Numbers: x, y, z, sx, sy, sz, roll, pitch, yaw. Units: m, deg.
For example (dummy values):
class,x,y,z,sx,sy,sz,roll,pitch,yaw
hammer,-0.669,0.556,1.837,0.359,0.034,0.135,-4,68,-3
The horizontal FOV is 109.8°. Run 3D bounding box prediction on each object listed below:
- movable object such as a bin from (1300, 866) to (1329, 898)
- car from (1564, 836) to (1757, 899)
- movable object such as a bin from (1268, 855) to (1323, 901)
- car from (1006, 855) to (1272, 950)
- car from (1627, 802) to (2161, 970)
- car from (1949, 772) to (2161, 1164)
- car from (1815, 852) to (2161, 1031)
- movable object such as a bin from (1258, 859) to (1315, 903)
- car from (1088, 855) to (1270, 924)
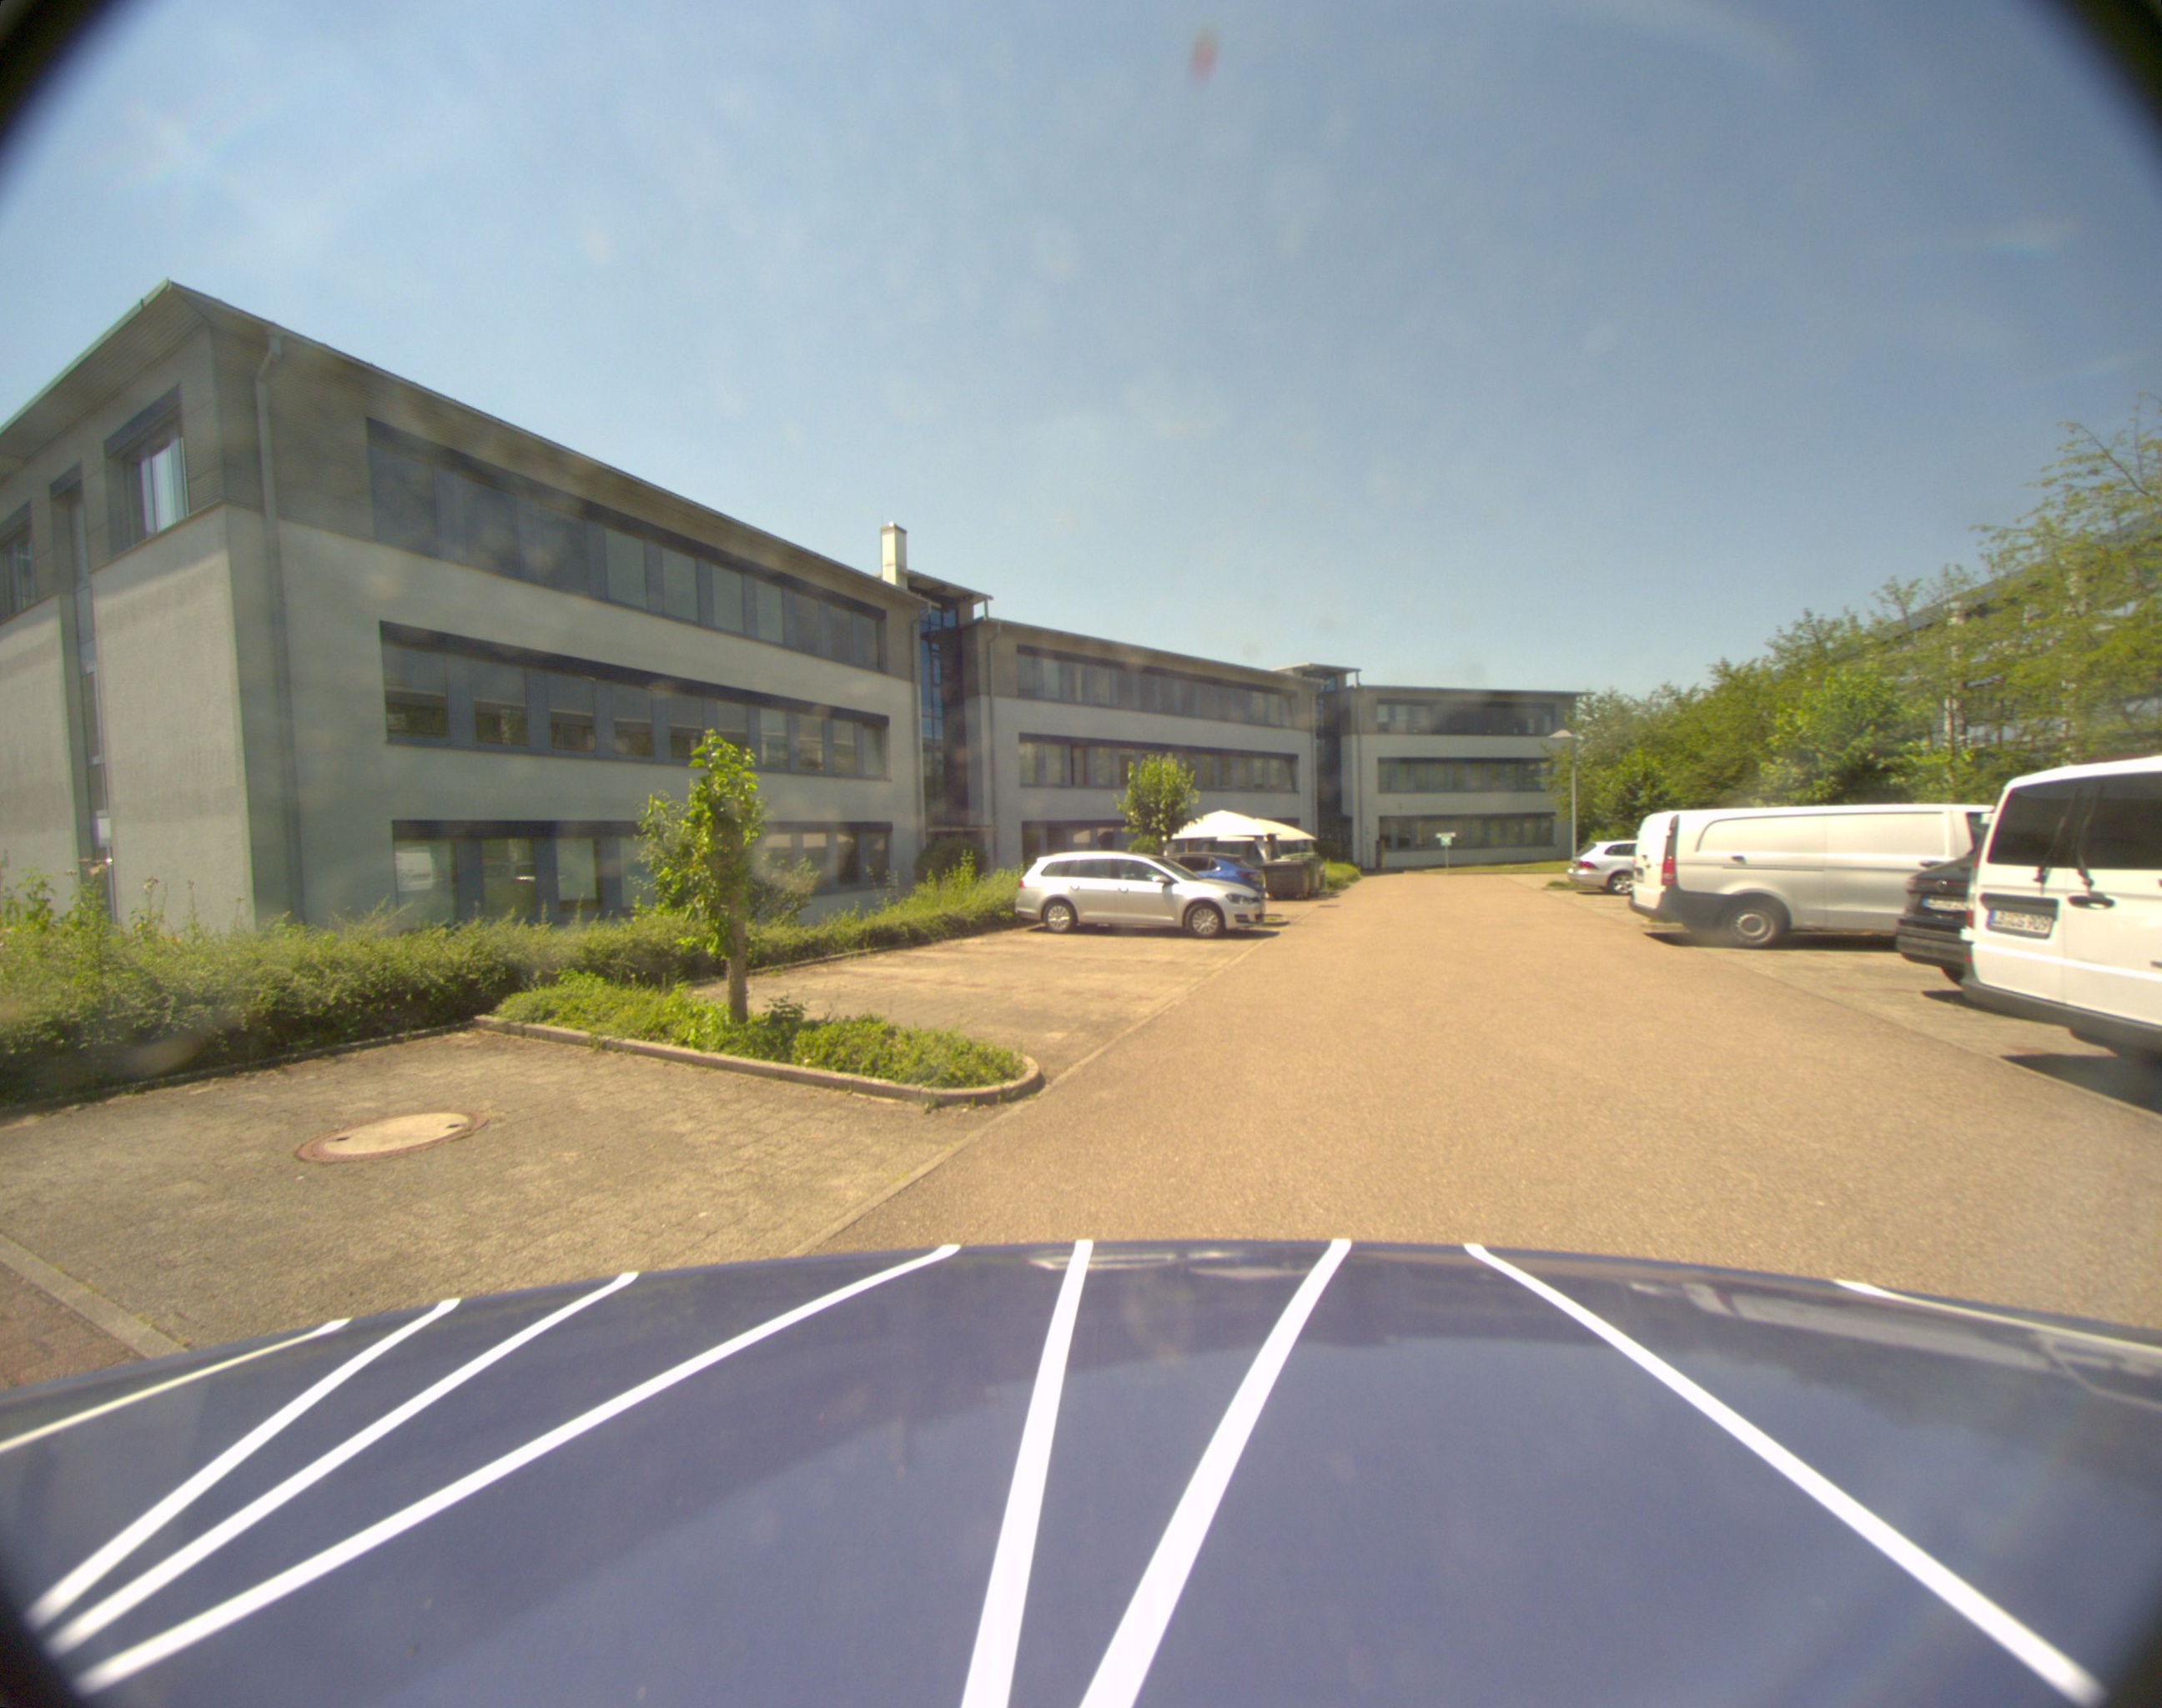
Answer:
class,x,y,z,sx,sy,sz,roll,pitch,yaw
movable object such as a bin,7.150,0.854,23.238,0.689,0.944,0.723,-1,1,28
car,15.163,0.361,20.136,3.757,1.549,1.663,-1,1,22
movable object such as a bin,6.381,0.705,22.576,1.361,1.288,1.045,-1,1,28
car,1.062,0.782,13.932,4.510,1.489,1.832,0,1,22
car,10.264,0.389,10.142,4.510,1.871,1.832,-1,1,22
car,7.609,0.495,3.312,4.724,1.895,1.832,-1,1,22
car,9.294,0.699,6.634,3.842,1.385,1.579,-1,1,22
movable object such as a bin,5.857,0.759,21.667,1.361,1.183,0.999,-1,1,28
car,2.254,0.745,17.374,3.818,1.384,1.654,0,2,22
